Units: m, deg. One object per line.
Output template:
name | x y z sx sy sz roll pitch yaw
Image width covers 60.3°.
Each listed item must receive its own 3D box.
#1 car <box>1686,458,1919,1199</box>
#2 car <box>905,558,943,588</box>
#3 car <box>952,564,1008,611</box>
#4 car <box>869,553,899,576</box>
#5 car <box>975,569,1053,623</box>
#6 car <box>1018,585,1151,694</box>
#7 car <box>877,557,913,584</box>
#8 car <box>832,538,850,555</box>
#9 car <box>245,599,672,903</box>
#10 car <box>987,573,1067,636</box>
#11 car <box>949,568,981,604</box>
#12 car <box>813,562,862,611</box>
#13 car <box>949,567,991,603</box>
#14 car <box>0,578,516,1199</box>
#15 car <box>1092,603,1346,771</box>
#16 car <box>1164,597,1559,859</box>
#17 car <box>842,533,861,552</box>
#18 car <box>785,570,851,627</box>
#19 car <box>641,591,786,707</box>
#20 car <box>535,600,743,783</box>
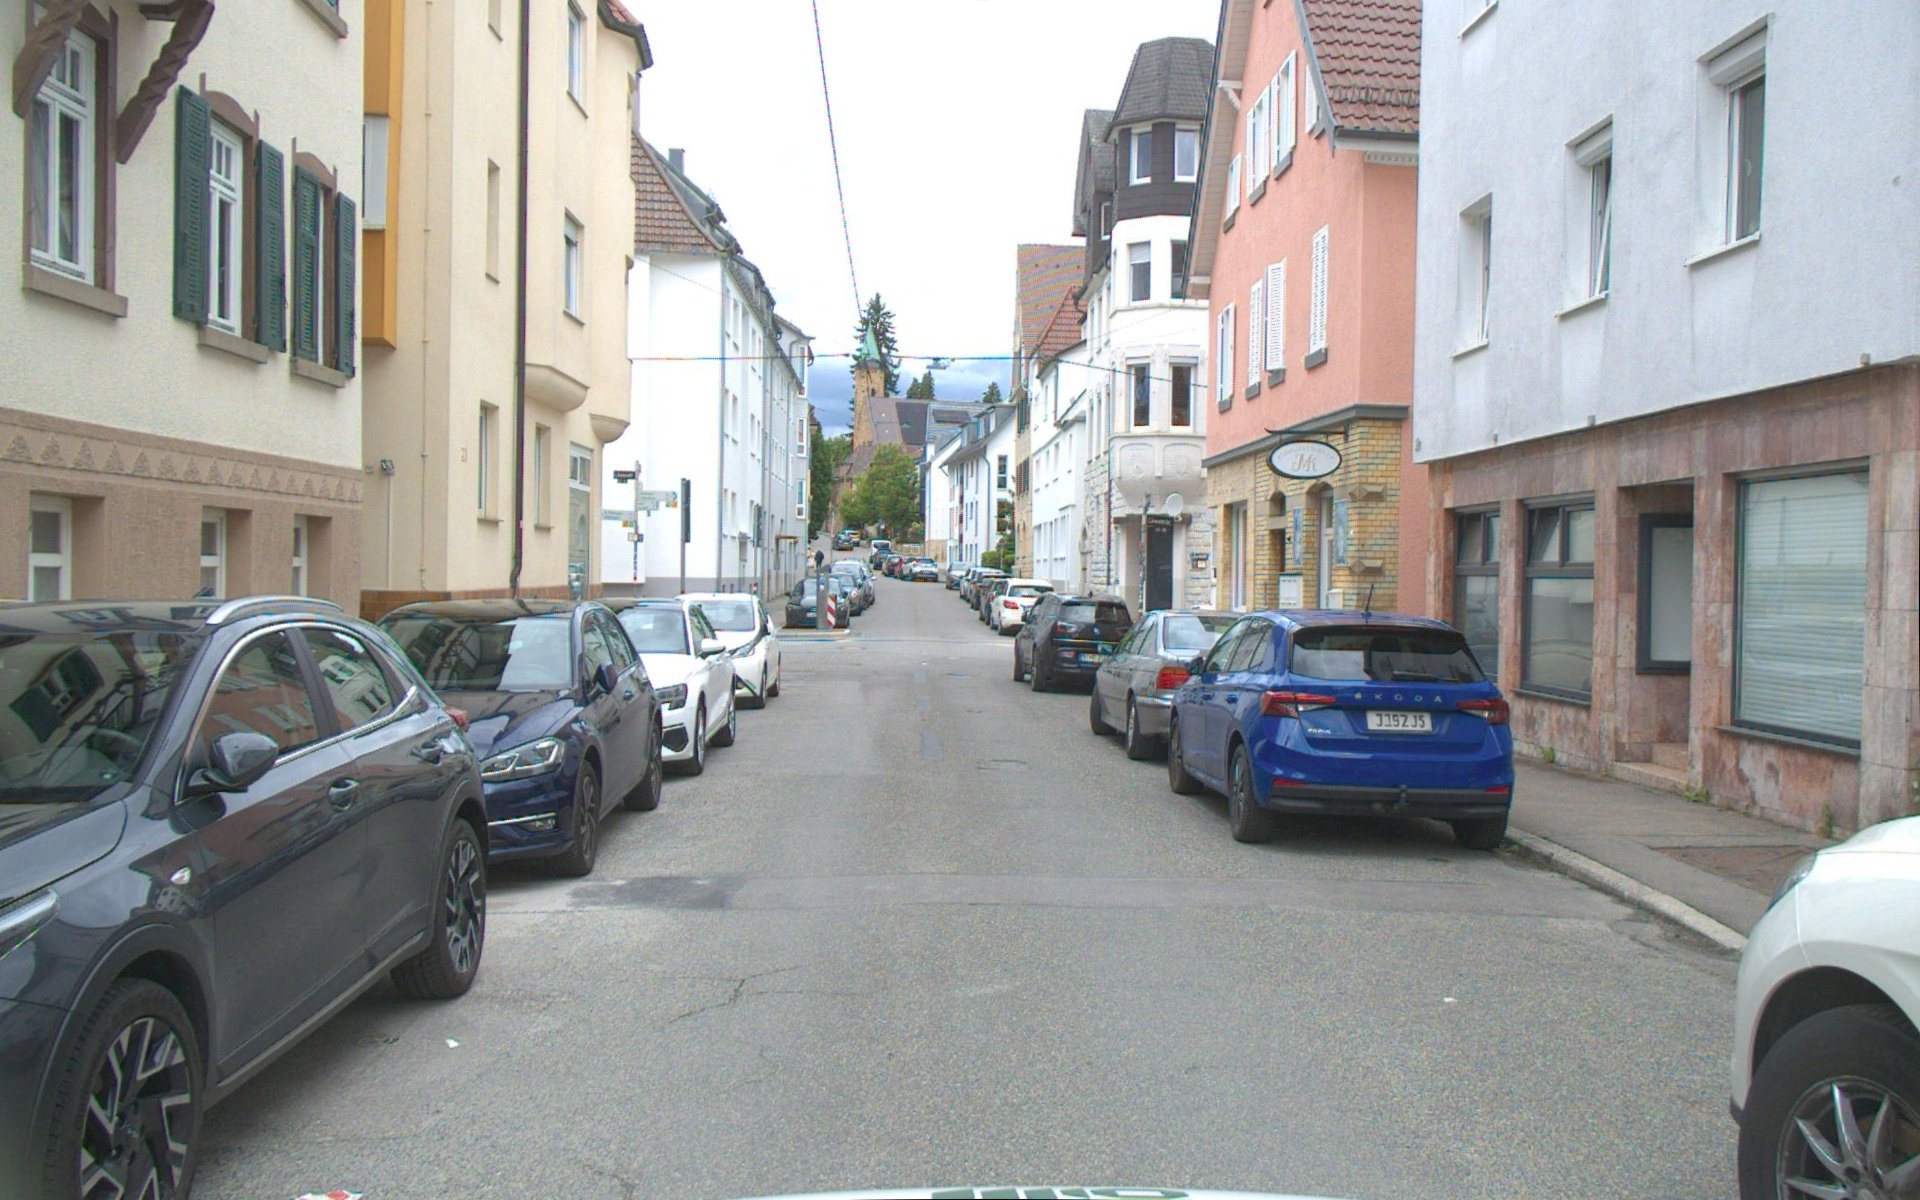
car | 2.794 0.653 1.749 1.895 1.741 4.374 2 1 -4
car | -2.313 -1.753 105.613 1.728 1.695 3.991 3 2 -10
car | 0.721 -0.509 62.811 1.694 1.601 3.830 2 2 -5
car | -6.114 -2.869 133.281 1.855 1.632 3.706 3 1 -11
car | 1.669 -0.151 52.821 1.917 1.602 3.995 2 1 -6
car | 1.991 0.604 27.513 1.678 1.576 3.800 3 1 -3
car | -4.588 -2.079 116.576 1.855 1.673 3.965 3 2 -11
car | -12.486 -5.574 173.265 1.714 1.713 3.595 3 1 -6
car | -2.776 0.733 9.998 1.574 1.449 3.852 0 0 -3
car | 1.875 0.095 47.533 1.732 1.552 3.898 2 2 -6
car | 0.261 -0.719 86.918 1.546 1.790 3.209 2 -1 -1
car | -4.205 -0.499 57.032 1.509 1.541 3.377 3 1 -3
car | 0.375 -0.639 67.404 1.380 1.328 2.899 2 2 -6
car | -2.637 0.737 4.699 1.733 1.521 3.980 -1 0 -2
car | 2.467 0.781 16.714 1.714 1.415 4.029 2 0 -3
car | 2.596 0.751 11.606 1.738 1.501 3.781 1 0 -2
car | -12.026 -6.394 183.866 1.787 1.956 3.745 3 2 -7
car | -4.071 -0.086 47.893 1.640 1.490 3.999 3 1 -2
car | -3.279 0.615 22.505 1.554 1.447 3.399 0 0 -2
car | -2.755 0.716 14.831 1.257 1.382 3.803 0 1 -2
